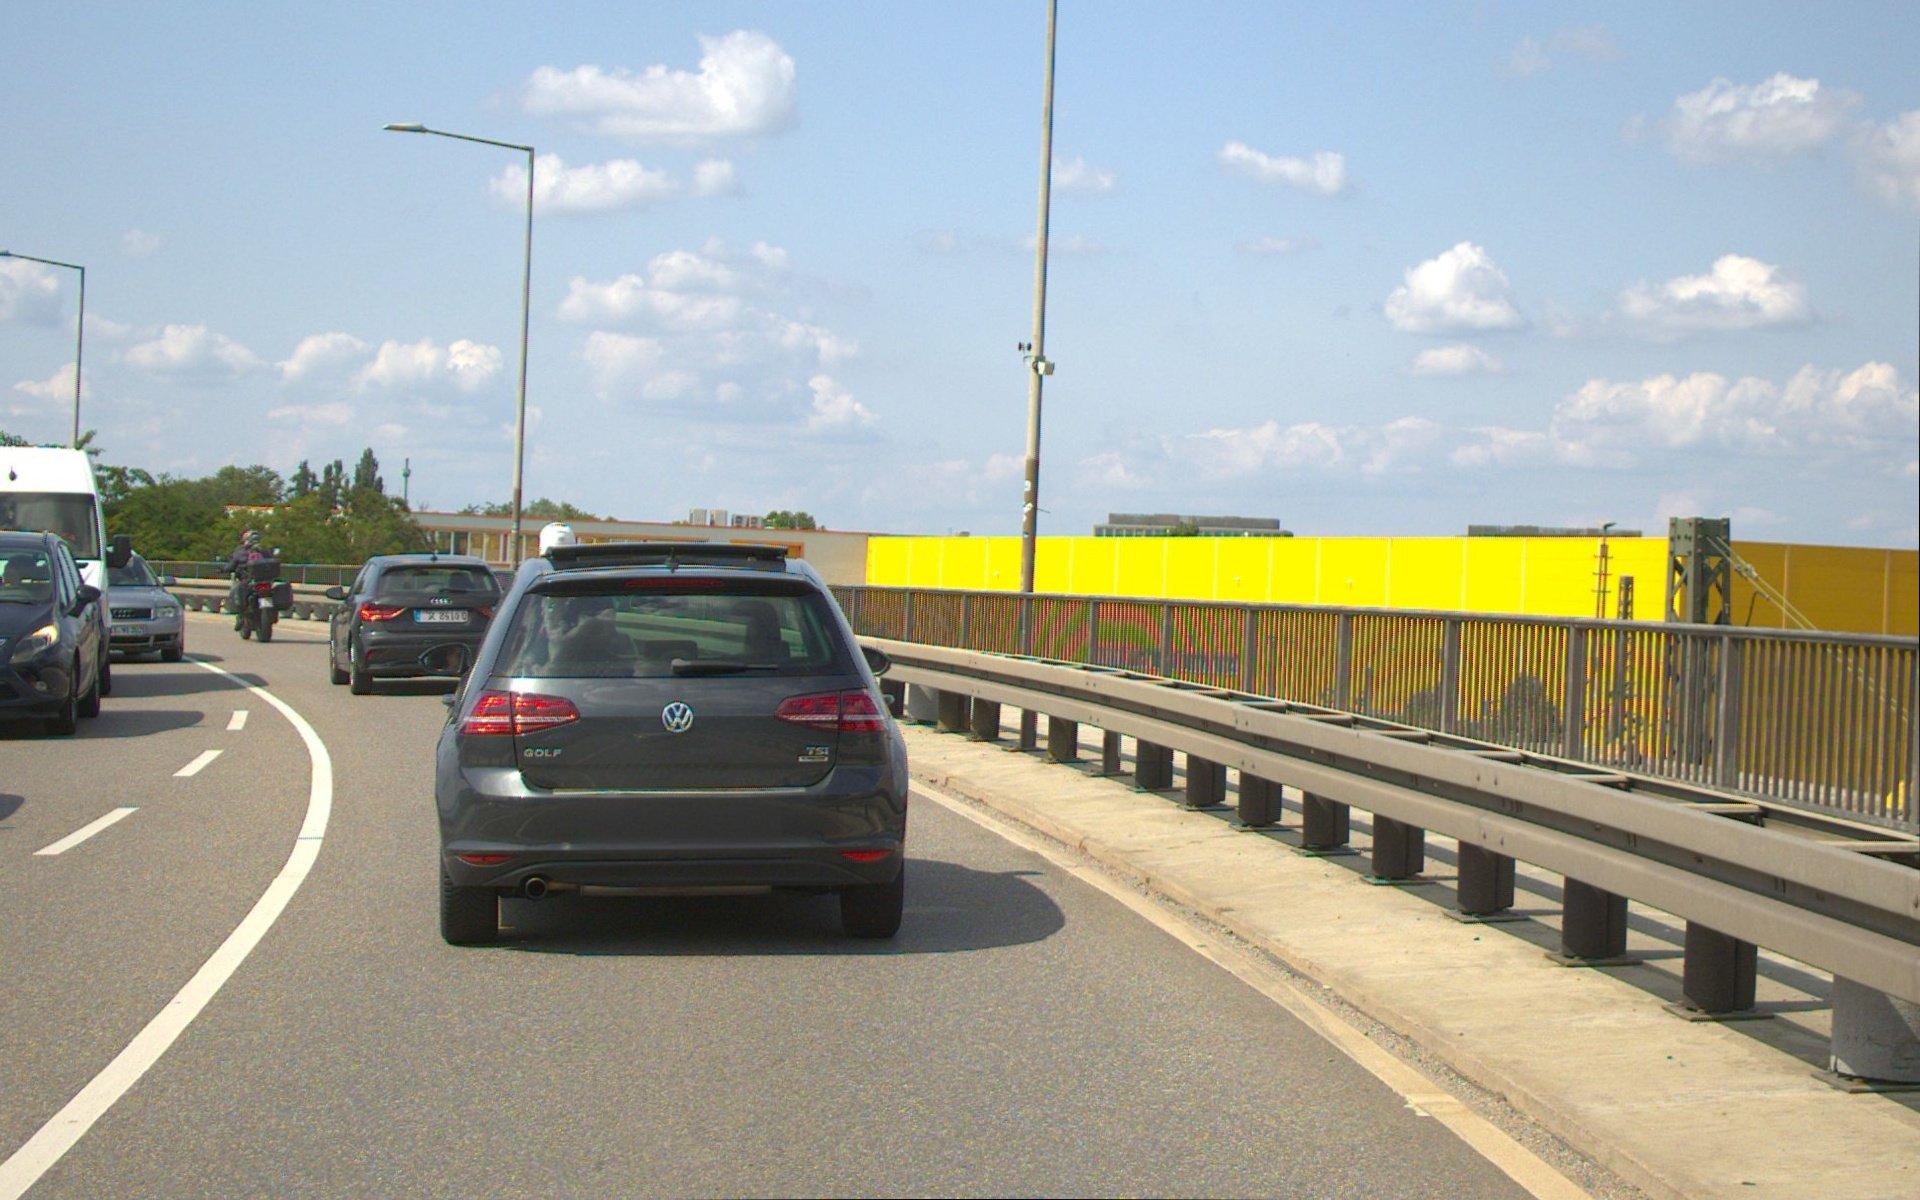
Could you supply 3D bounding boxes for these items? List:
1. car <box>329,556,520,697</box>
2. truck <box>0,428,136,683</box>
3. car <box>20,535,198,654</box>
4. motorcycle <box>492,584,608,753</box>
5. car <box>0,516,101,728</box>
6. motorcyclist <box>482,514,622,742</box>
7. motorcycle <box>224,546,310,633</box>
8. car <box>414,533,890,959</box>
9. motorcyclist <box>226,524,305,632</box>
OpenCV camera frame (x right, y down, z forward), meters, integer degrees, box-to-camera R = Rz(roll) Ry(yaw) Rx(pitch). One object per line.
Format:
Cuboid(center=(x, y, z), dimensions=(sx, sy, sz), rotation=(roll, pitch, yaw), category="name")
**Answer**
Cuboid(center=(-5.620, 0.262, 35.807), dimensions=(1.681, 1.383, 3.740), rotation=(0, 0, -13), category="car")
Cuboid(center=(-10.017, -0.502, 36.678), dimensions=(1.993, 2.499, 5.950), rotation=(0, 1, -17), category="truck")
Cuboid(center=(-11.131, -0.105, 44.807), dimensions=(1.766, 1.455, 4.299), rotation=(-1, 1, -20), category="car")
Cuboid(center=(-3.001, 0.474, 25.120), dimensions=(0.789, 1.128, 2.400), rotation=(1, 1, -7), category="motorcycle")
Cuboid(center=(-8.062, 0.139, 28.543), dimensions=(1.717, 1.626, 4.429), rotation=(0, 1, -13), category="car")
Cuboid(center=(-2.996, 0.194, 25.219), dimensions=(0.965, 1.615, 1.125), rotation=(1, 1, -7), category="motorcyclist")
Cuboid(center=(-10.467, -0.173, 51.858), dimensions=(0.887, 1.243, 2.400), rotation=(1, 1, -20), category="motorcycle")
Cuboid(center=(-1.122, 0.492, 13.974), dimensions=(1.642, 1.474, 3.872), rotation=(1, 1, -1), category="car")
Cuboid(center=(-10.495, -0.339, 51.911), dimensions=(0.965, 1.590, 1.125), rotation=(1, 1, -21), category="motorcyclist")
